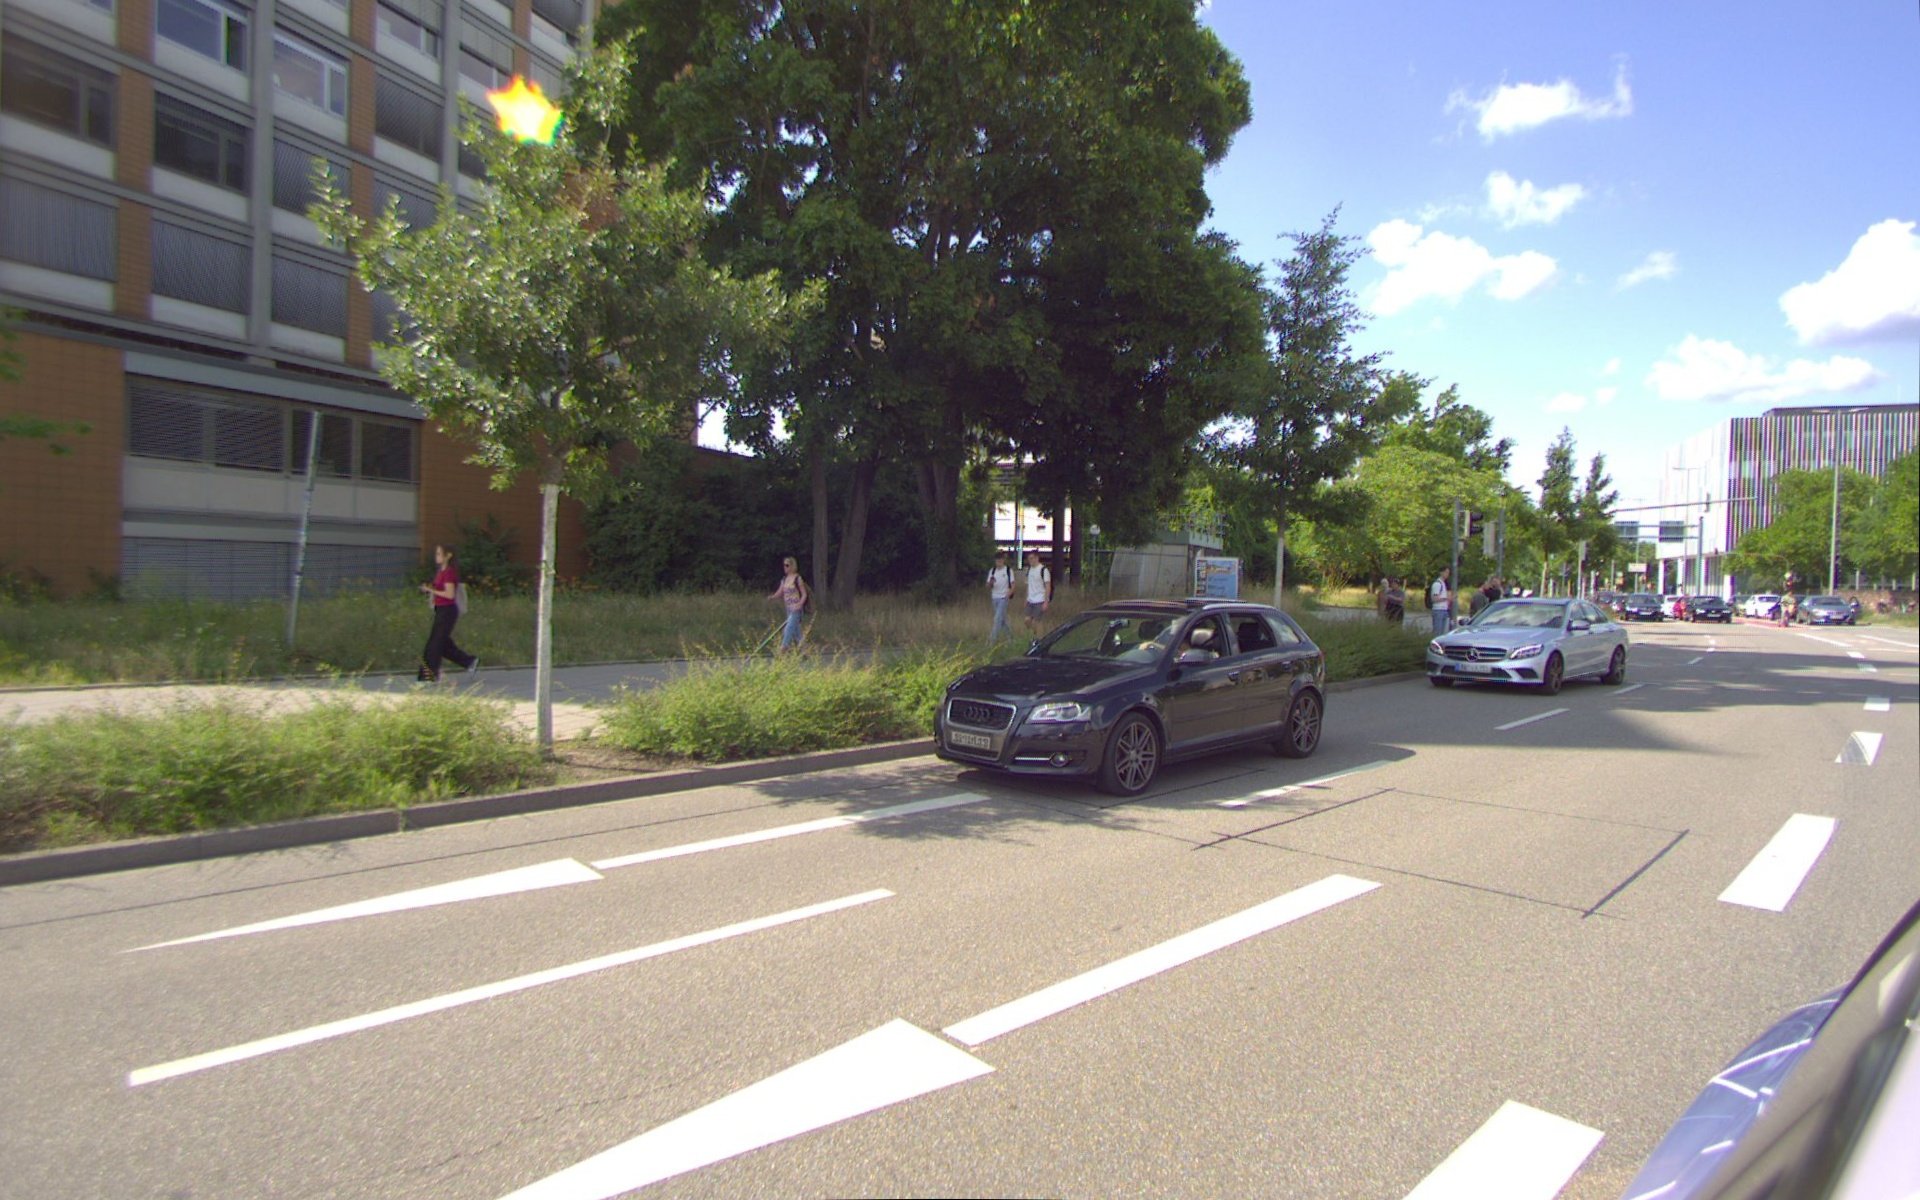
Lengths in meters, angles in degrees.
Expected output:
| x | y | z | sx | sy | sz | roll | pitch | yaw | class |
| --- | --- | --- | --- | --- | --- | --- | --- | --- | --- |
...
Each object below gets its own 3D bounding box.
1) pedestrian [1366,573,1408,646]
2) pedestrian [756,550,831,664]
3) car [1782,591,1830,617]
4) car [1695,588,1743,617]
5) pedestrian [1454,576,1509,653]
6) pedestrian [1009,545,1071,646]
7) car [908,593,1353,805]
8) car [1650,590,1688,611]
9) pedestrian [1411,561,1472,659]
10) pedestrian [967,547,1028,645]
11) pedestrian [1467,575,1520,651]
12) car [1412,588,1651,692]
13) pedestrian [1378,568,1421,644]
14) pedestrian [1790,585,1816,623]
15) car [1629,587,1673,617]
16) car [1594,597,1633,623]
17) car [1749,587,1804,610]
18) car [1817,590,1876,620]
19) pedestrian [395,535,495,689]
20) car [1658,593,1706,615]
| x | y | z | sx | sy | sz | roll | pitch | yaw | class |
| --- | --- | --- | --- | --- | --- | --- | --- | --- | --- |
| 10.585 | 0.228 | 25.091 | 0.765 | 1.757 | 0.708 | 0 | 0 | 41 | pedestrian |
| -2.510 | 0.093 | 15.285 | 0.614 | 1.642 | 0.876 | 5 | 4 | 44 | pedestrian |
| 47.063 | 0.205 | 56.347 | 1.722 | 1.351 | 3.742 | 0 | 1 | 35 | car |
| 39.854 | 0.106 | 53.185 | 1.815 | 1.481 | 3.950 | 1 | 1 | 35 | car |
| 12.094 | 0.319 | 23.459 | 0.755 | 1.757 | 0.926 | 0 | 0 | -43 | pedestrian |
| 1.411 | -0.100 | 17.909 | 0.614 | 1.720 | 0.876 | 5 | 4 | 44 | pedestrian |
| 1.648 | 0.651 | 8.817 | 4.062 | 1.389 | 1.701 | 0 | 2 | -43 | car |
| 44.731 | -0.010 | 63.832 | 1.898 | 1.148 | 4.052 | 1 | 3 | 35 | car |
| 10.296 | 0.194 | 21.655 | 0.755 | 2.039 | 0.963 | 0 | 0 | -43 | pedestrian |
| 0.689 | -0.089 | 18.424 | 0.614 | 1.720 | 0.876 | 5 | 4 | 44 | pedestrian |
| 12.645 | 0.298 | 23.988 | 0.755 | 1.757 | 0.926 | 0 | 0 | -43 | pedestrian |
| 9.459 | 0.550 | 16.587 | 4.675 | 1.474 | 1.934 | 0 | 0 | -40 | car |
| 10.466 | 0.132 | 24.106 | 0.765 | 1.757 | 0.708 | 0 | 0 | 41 | pedestrian |
| 39.494 | 0.183 | 47.417 | 0.731 | 1.736 | 0.868 | 0 | 0 | 27 | pedestrian |
| 36.792 | 0.075 | 53.815 | 1.816 | 1.481 | 3.948 | 1 | 1 | 36 | car |
| 39.215 | 0.572 | 60.721 | 1.815 | 1.481 | 3.950 | 1 | 1 | 35 | car |
| 50.482 | -0.100 | 62.641 | 1.761 | 1.371 | 3.966 | 0 | 1 | 25 | car |
| 43.787 | 0.198 | 50.079 | 1.990 | 1.393 | 4.210 | 1 | 1 | 39 | car |
| -5.811 | 0.110 | 11.419 | 0.874 | 1.642 | 0.615 | 0 | 4 | -41 | pedestrian |
| 41.420 | 0.199 | 58.106 | 1.582 | 1.148 | 3.597 | 1 | 1 | 25 | car |
